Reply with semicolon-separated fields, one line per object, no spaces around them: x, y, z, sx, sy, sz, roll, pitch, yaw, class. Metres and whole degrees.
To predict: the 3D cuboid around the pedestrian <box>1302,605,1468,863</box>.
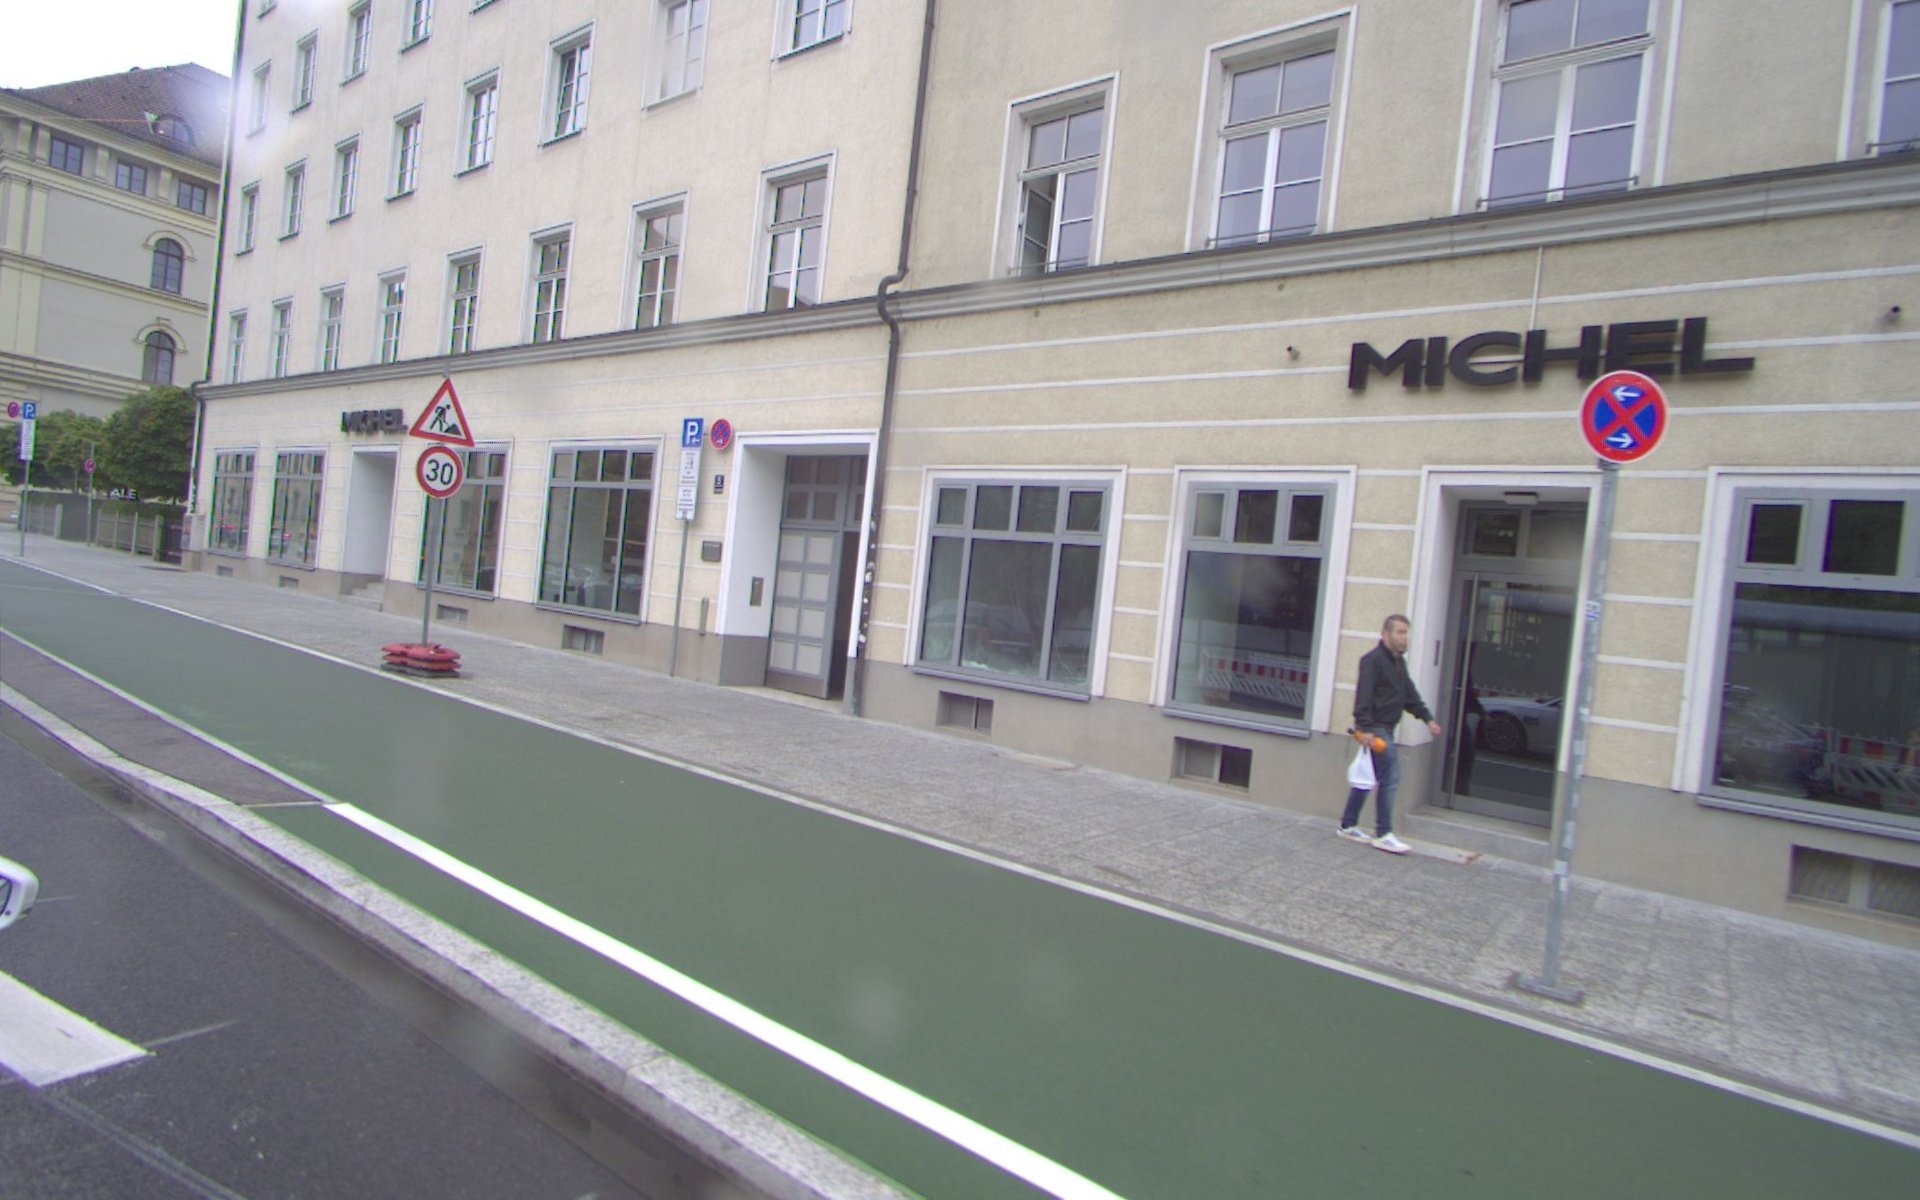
3.254;0.984;7.692;0.821;1.768;0.793;7;1;38;pedestrian
